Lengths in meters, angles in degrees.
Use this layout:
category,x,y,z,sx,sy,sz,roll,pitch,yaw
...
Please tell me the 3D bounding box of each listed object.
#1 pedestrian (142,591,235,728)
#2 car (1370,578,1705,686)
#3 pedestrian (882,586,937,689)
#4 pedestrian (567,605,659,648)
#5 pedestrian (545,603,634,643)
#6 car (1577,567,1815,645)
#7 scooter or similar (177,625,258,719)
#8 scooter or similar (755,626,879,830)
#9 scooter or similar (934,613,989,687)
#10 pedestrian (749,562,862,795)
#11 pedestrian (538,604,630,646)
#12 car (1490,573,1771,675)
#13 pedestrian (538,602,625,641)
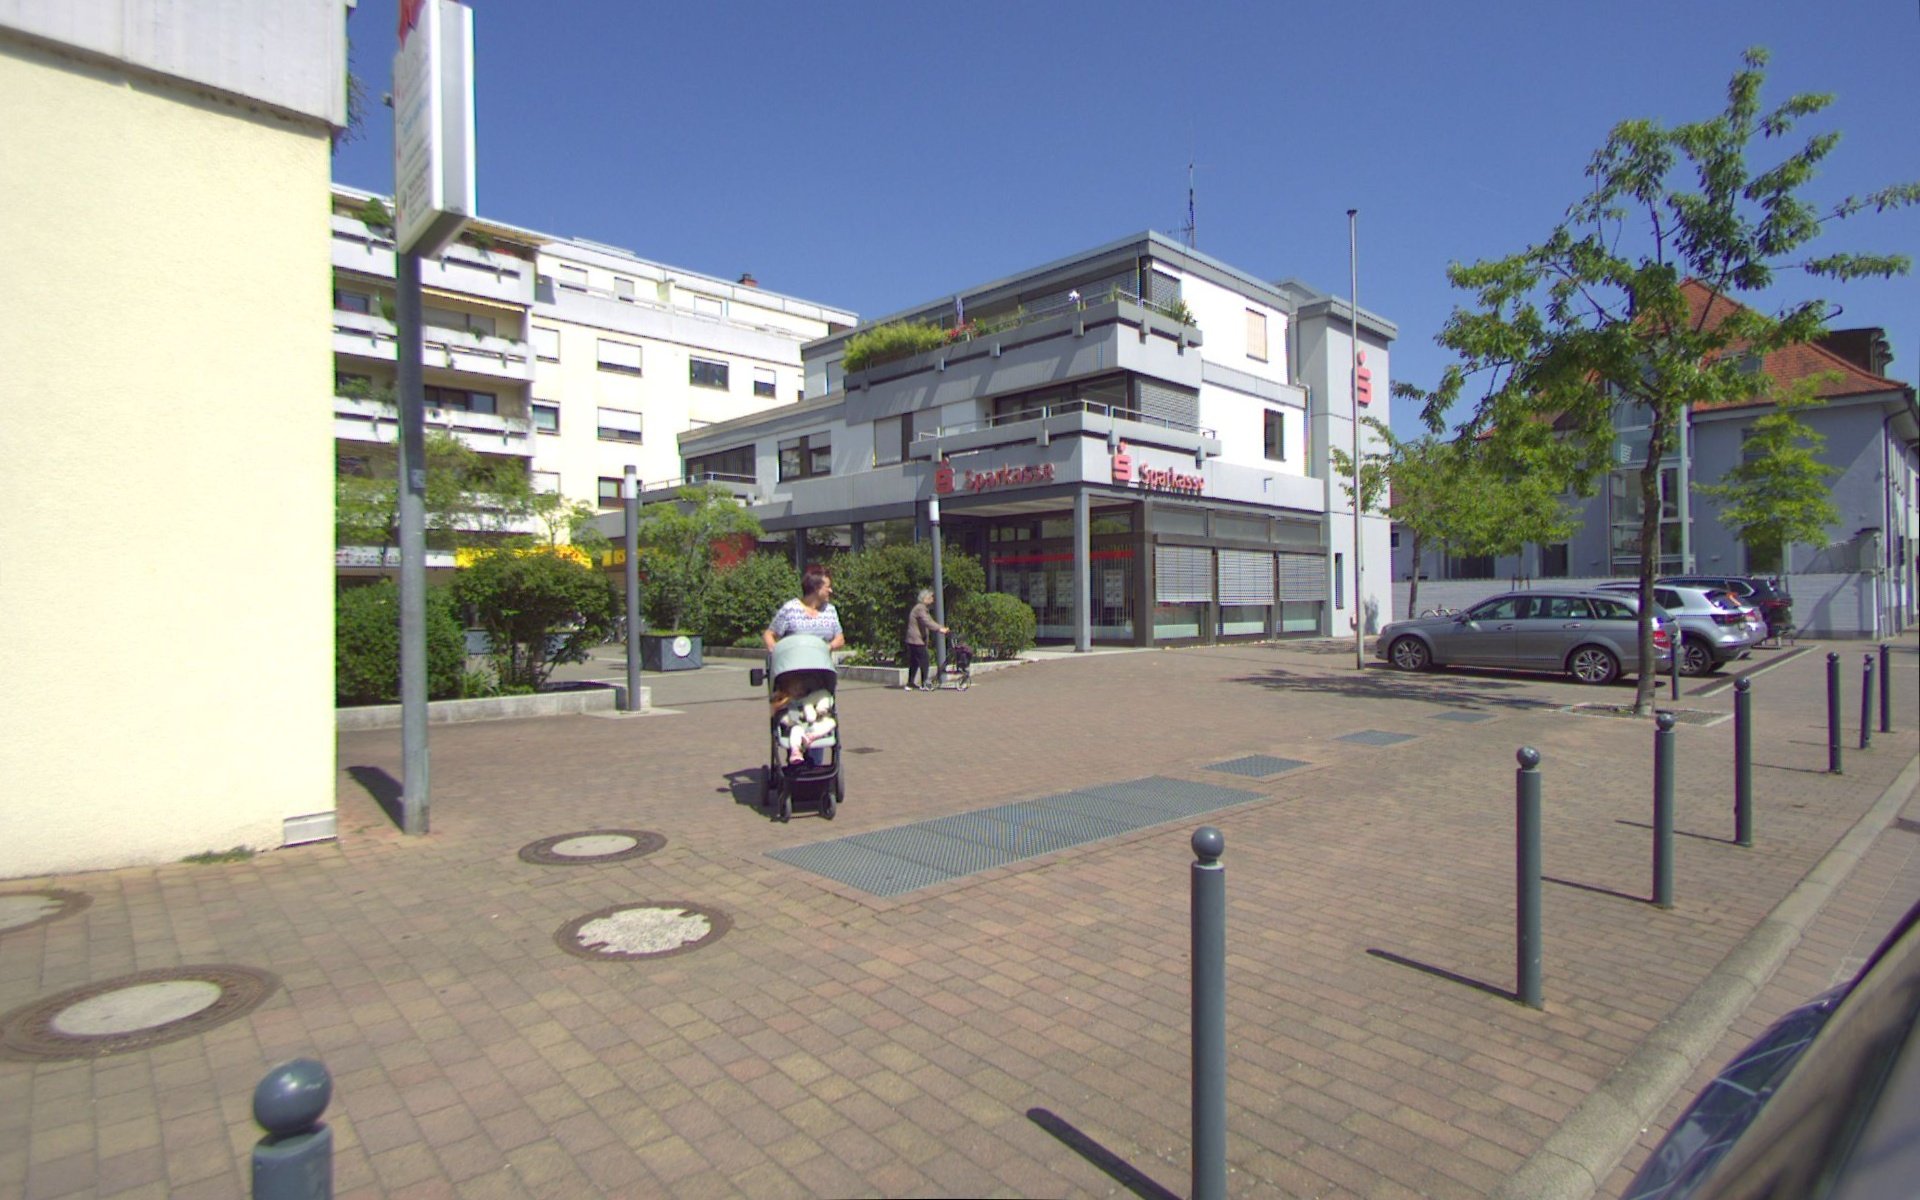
category,x,y,z,sx,sy,sz,roll,pitch,yaw
pedestrian,-8.942,0.665,11.754,0.606,1.516,0.813,-1,0,-17
car,9.522,0.414,16.953,4.575,1.531,1.887,2,2,43
pedestrian,-0.767,0.554,15.351,0.795,1.516,0.669,-1,-1,-4
pedestrian,-11.331,0.836,33.125,0.982,1.290,2.736,-1,0,40
pedestrian,-12.690,0.761,34.747,0.982,1.290,2.736,-1,0,40
car,18.727,0.085,25.904,2.112,1.793,4.635,0,1,-43
scooter or similar,-9.174,0.873,12.530,0.578,1.088,0.807,-1,0,-17
scooter or similar,-0.921,0.740,6.325,0.615,1.120,1.046,-1,0,-16
scooter or similar,0.014,0.745,15.341,0.789,1.088,0.591,-1,0,-3
pedestrian,-1.114,0.517,7.201,0.691,1.540,0.803,-1,0,-15
pedestrian,-12.441,0.792,33.568,0.982,1.290,2.736,-1,0,40
car,12.118,0.331,18.450,3.989,1.593,1.828,2,3,45
pedestrian,-13.208,0.730,35.420,0.982,1.290,2.736,-1,0,40
